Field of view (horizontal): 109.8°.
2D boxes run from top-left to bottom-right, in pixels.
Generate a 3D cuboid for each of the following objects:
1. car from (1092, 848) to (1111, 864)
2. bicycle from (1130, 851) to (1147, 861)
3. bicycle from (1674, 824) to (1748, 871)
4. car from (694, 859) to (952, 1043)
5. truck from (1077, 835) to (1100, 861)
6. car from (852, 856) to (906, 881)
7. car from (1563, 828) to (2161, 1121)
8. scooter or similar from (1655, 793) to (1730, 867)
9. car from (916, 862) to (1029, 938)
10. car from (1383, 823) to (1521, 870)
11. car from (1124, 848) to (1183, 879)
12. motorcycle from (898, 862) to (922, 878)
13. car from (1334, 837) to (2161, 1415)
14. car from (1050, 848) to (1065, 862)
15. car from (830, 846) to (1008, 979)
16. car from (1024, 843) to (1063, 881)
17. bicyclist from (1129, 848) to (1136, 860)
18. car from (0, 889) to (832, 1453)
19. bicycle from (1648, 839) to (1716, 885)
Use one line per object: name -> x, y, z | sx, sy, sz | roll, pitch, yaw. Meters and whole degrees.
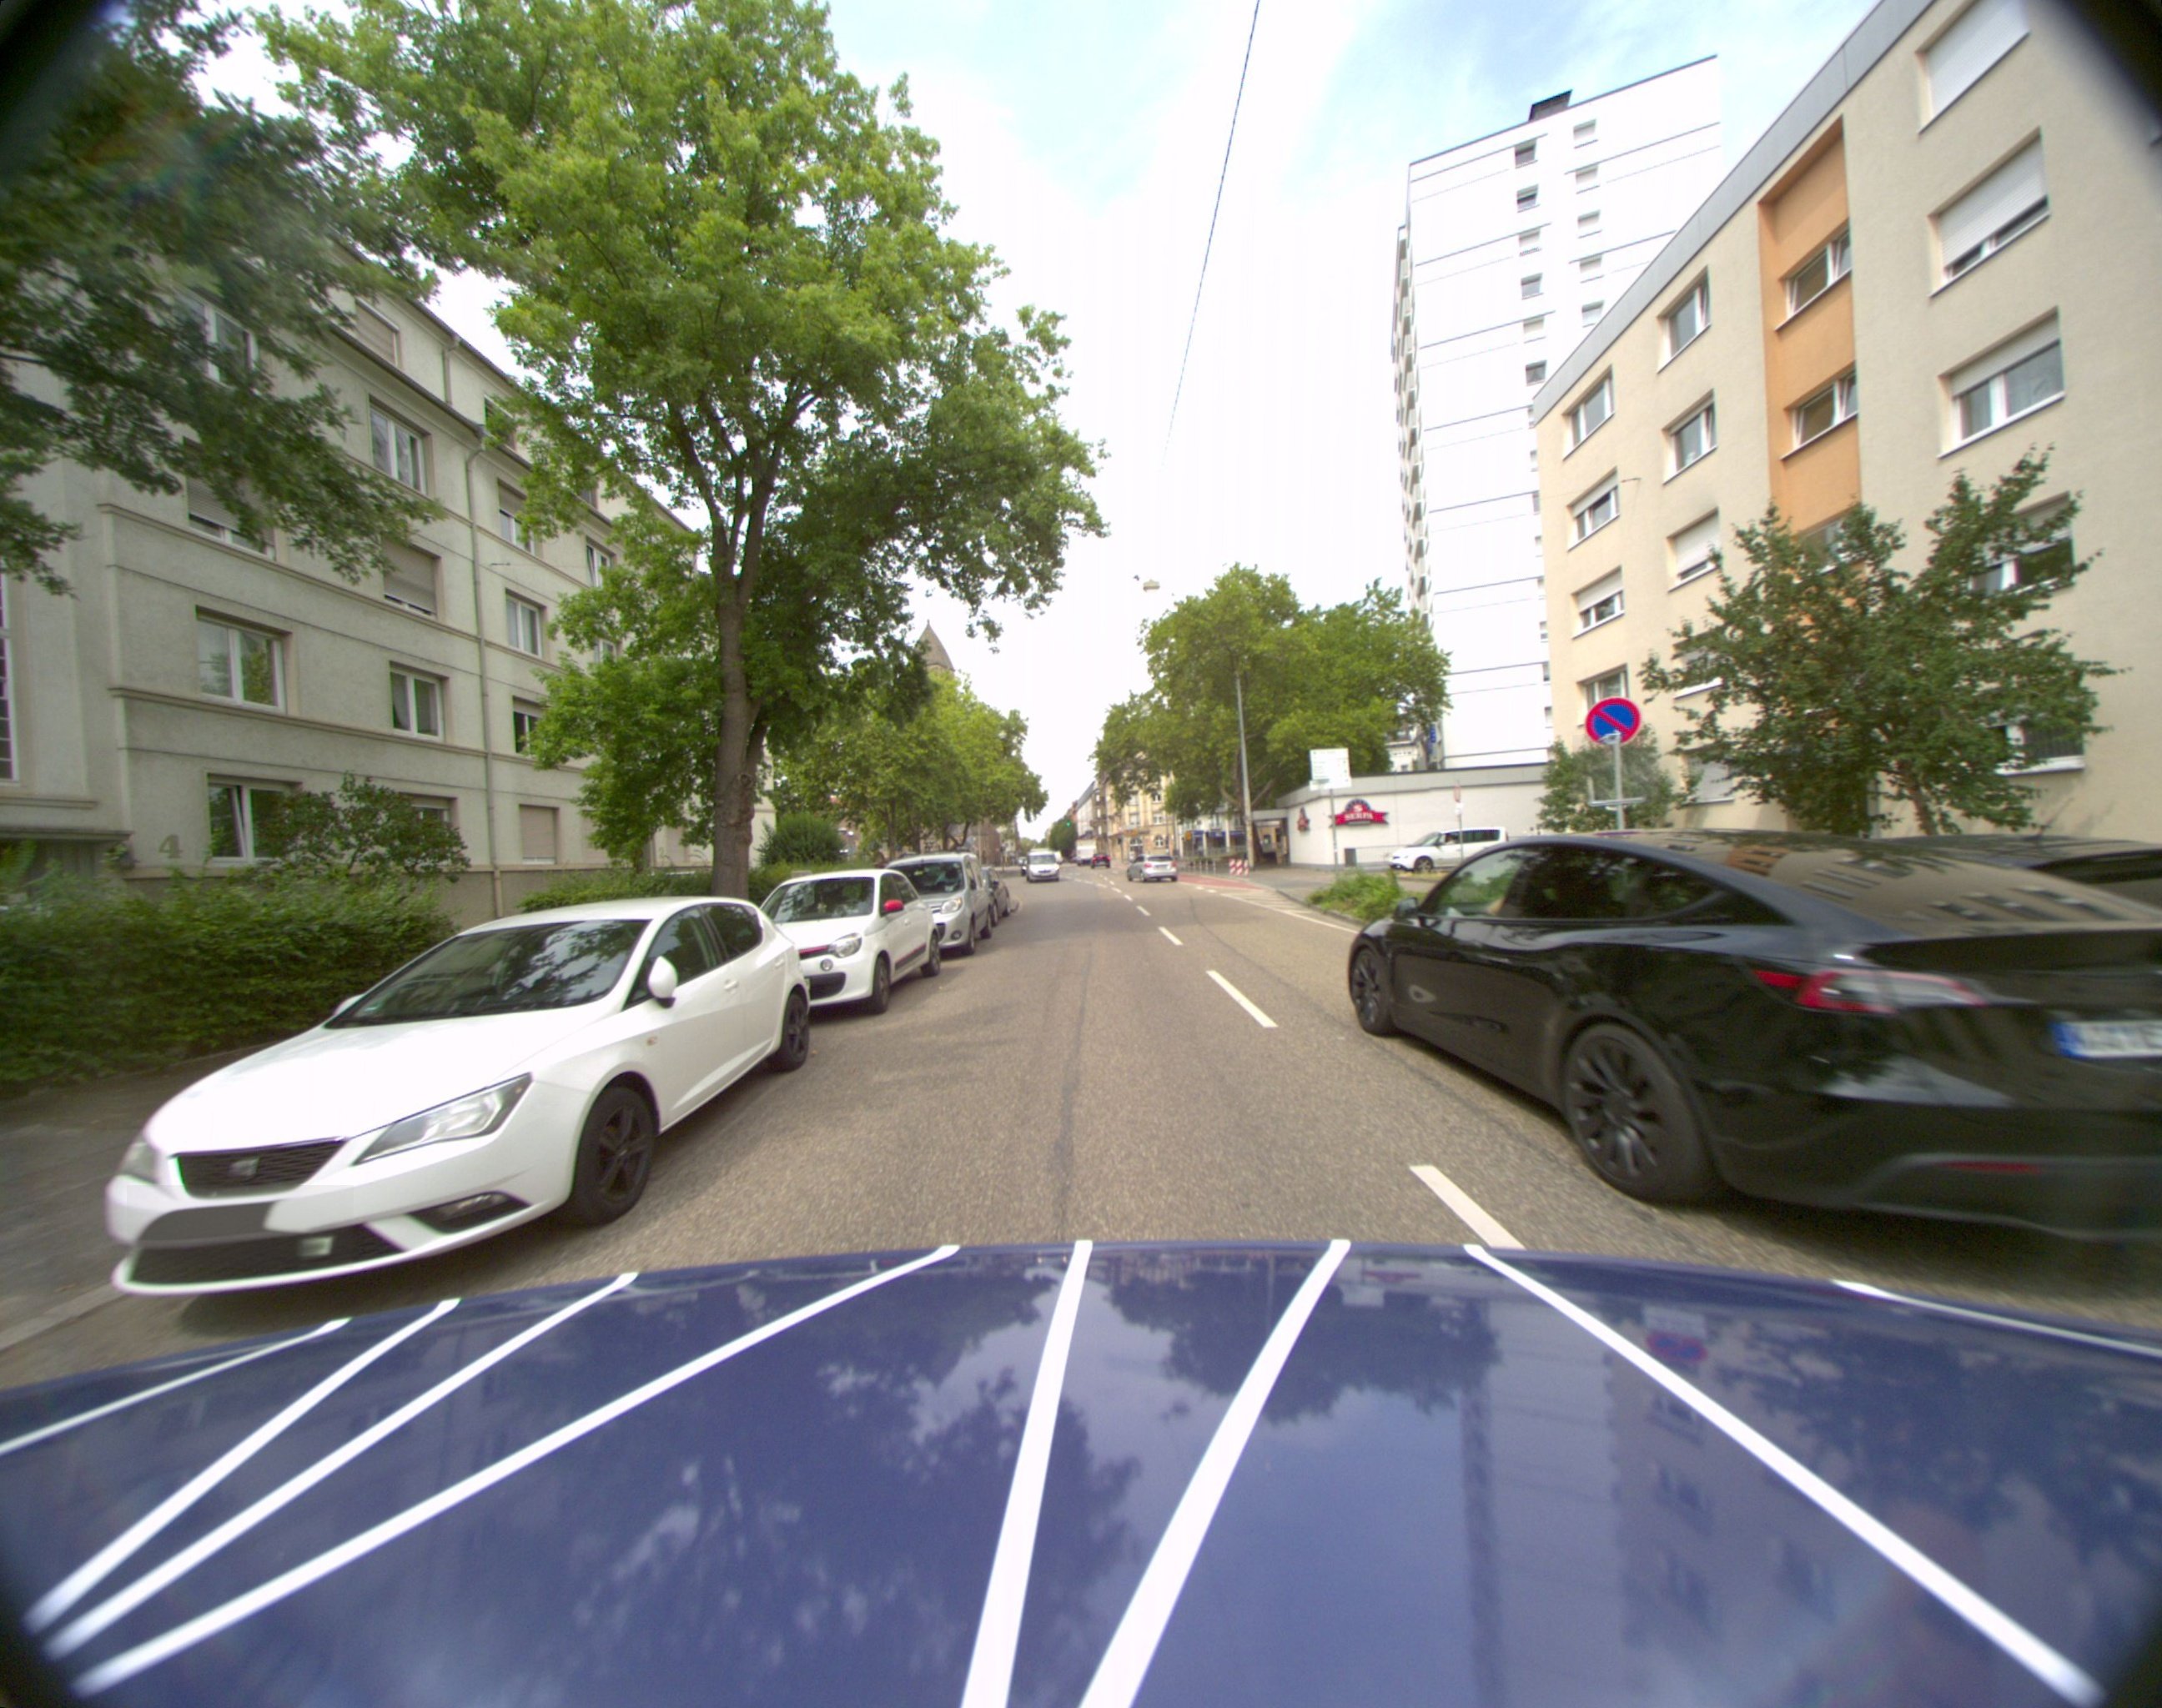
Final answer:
car -> 2.045, 0.164, 75.930 | 1.701, 1.509, 4.000 | -2, 0, 0
bicycle -> 6.896, 0.243, 91.561 | 1.968, 1.088, 0.627 | -1, 0, 8
bicycle -> 14.695, -0.156, 17.763 | 0.412, 1.032, 1.805 | -3, 1, 8
car -> -2.829, 0.961, 9.271 | 1.608, 1.598, 3.804 | -5, 0, 2
truck -> 0.884, -0.755, 94.199 | 2.548, 3.089, 7.018 | -1, 0, -2
car -> -15.414, 1.096, 58.203 | 1.935, 1.696, 4.335 | -3, 0, 16
car -> 5.955, 0.625, 6.059 | 1.712, 1.464, 3.989 | -5, 0, 2
scooter or similar -> 10.516, -0.407, 13.110 | 0.402, 1.186, 1.291 | -4, 1, 12
car -> -2.506, 1.020, 18.683 | 1.922, 1.436, 4.239 | -5, 0, 2
car -> 15.015, -0.295, 30.973 | 4.640, 1.676, 1.850 | -2, 0, 7
car -> 3.619, 0.466, 38.934 | 1.849, 1.442, 4.181 | -2, 0, -11
motorcycle -> -14.323, 1.311, 63.529 | 1.859, 1.215, 0.531 | -3, 0, -7
car -> 3.149, 0.699, 4.300 | 1.956, 1.512, 4.613 | -1, 0, 1
car -> -3.487, 0.139, 113.898 | 1.929, 1.925, 4.946 | -4, 0, -4
car -> -2.677, 0.866, 13.885 | 1.922, 1.854, 4.846 | -5, 0, 2
car -> -2.211, 0.489, 45.452 | 2.082, 2.039, 4.679 | -3, 0, -3
bicyclist -> 6.240, -0.009, 91.576 | 0.751, 1.334, 0.492 | -3, 0, 8
car -> -2.978, 1.081, 4.374 | 1.701, 1.441, 4.100 | -4, 0, -1
bicycle -> 14.137, 0.164, 17.922 | 0.412, 1.032, 1.806 | -3, 1, 9
